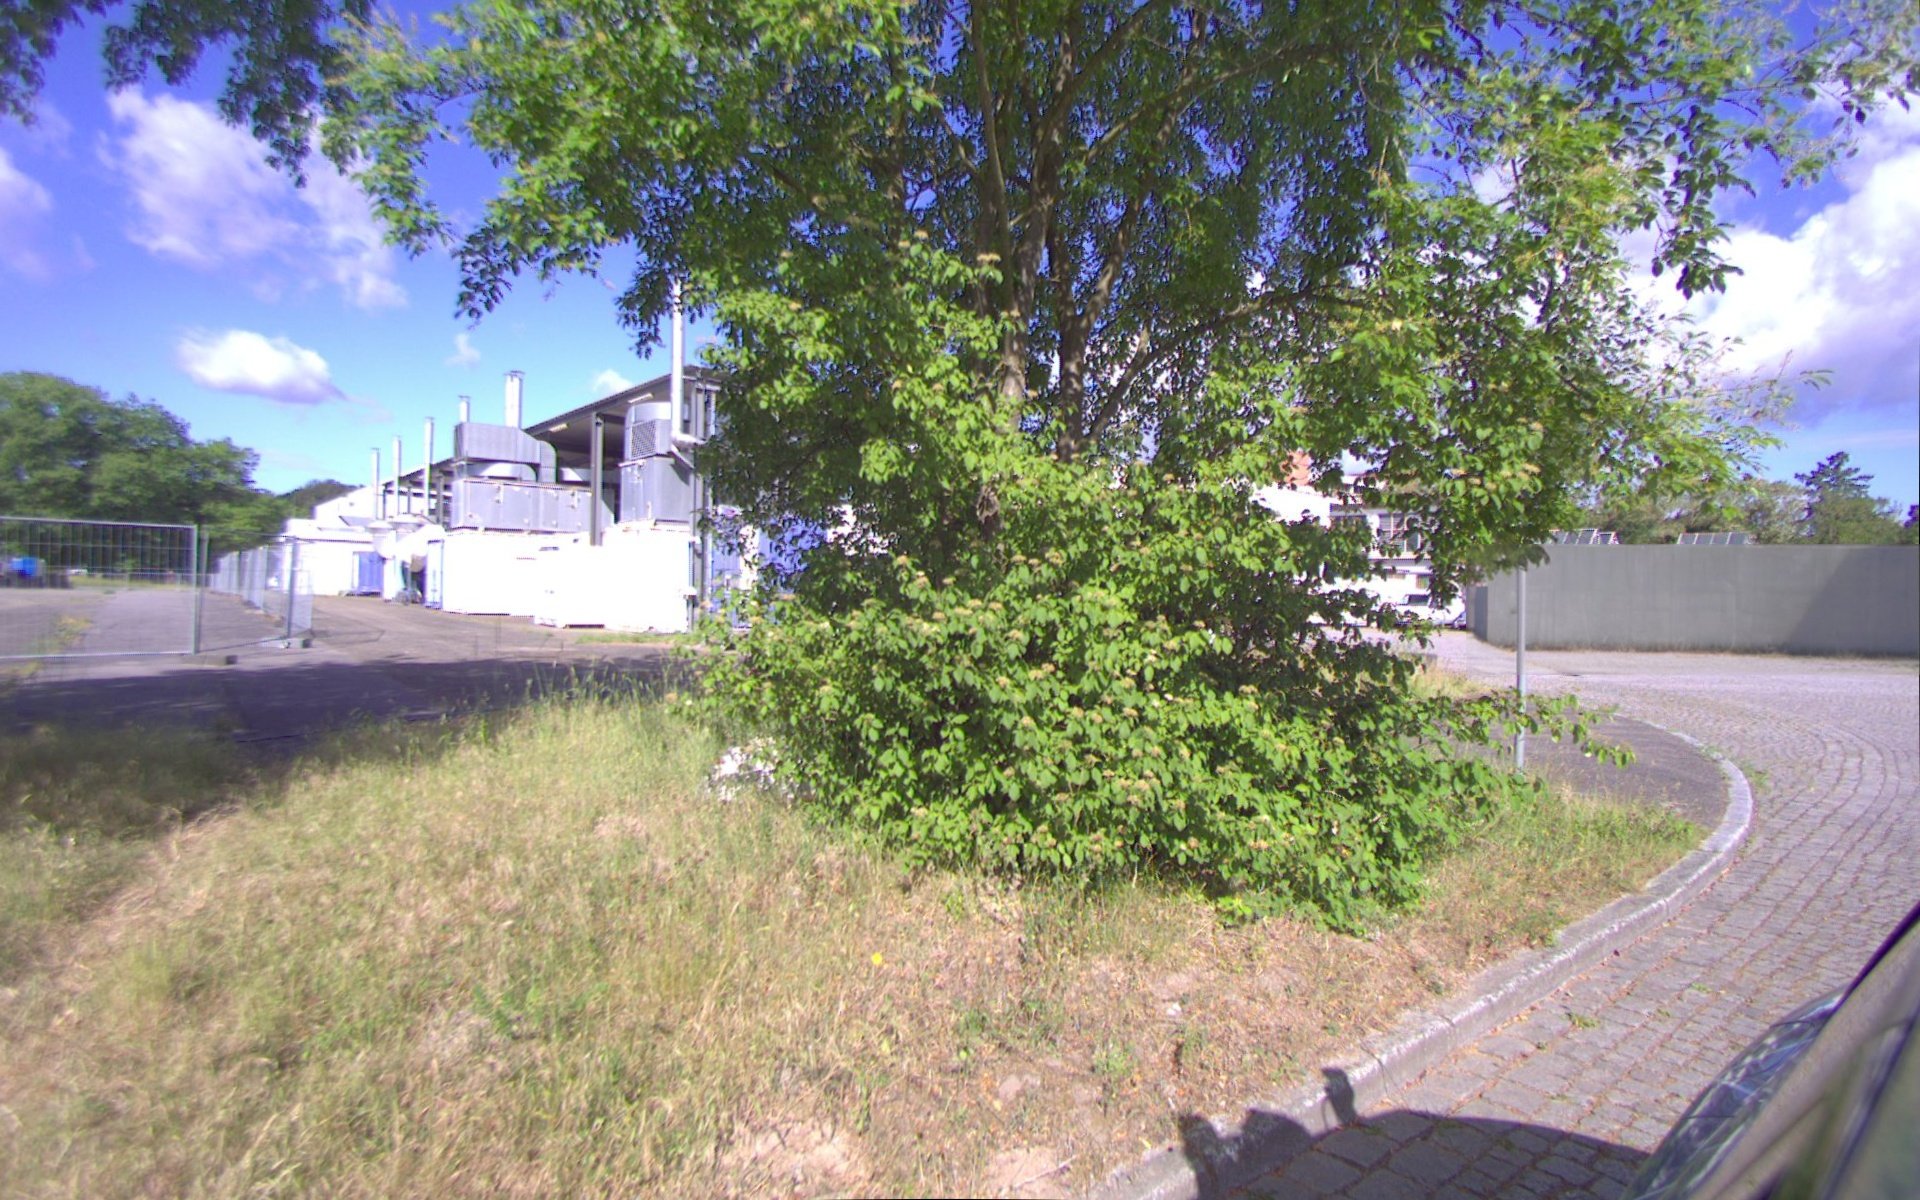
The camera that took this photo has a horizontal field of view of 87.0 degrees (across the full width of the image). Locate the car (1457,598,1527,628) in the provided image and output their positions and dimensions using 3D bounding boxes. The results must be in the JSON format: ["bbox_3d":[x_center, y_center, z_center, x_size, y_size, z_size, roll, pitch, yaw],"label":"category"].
[{"bbox_3d":[27.348,0.659,52.005,3.760,1.416,1.692,1,1,-37],"label":"car"}]

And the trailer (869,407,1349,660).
[{"bbox_3d":[3.487,-1.008,20.207,10.684,3.960,2.780,1,0,-38],"label":"trailer"}]

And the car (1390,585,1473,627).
[{"bbox_3d":[25.161,0.286,53.926,4.715,2.107,2.009,0,1,-37],"label":"car"}]

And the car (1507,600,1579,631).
[{"bbox_3d":[28.372,0.731,49.212,3.669,1.423,1.737,-1,1,-37],"label":"car"}]

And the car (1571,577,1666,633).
[{"bbox_3d":[31.107,0.235,47.762,5.140,2.514,2.089,1,0,-37],"label":"car"}]
